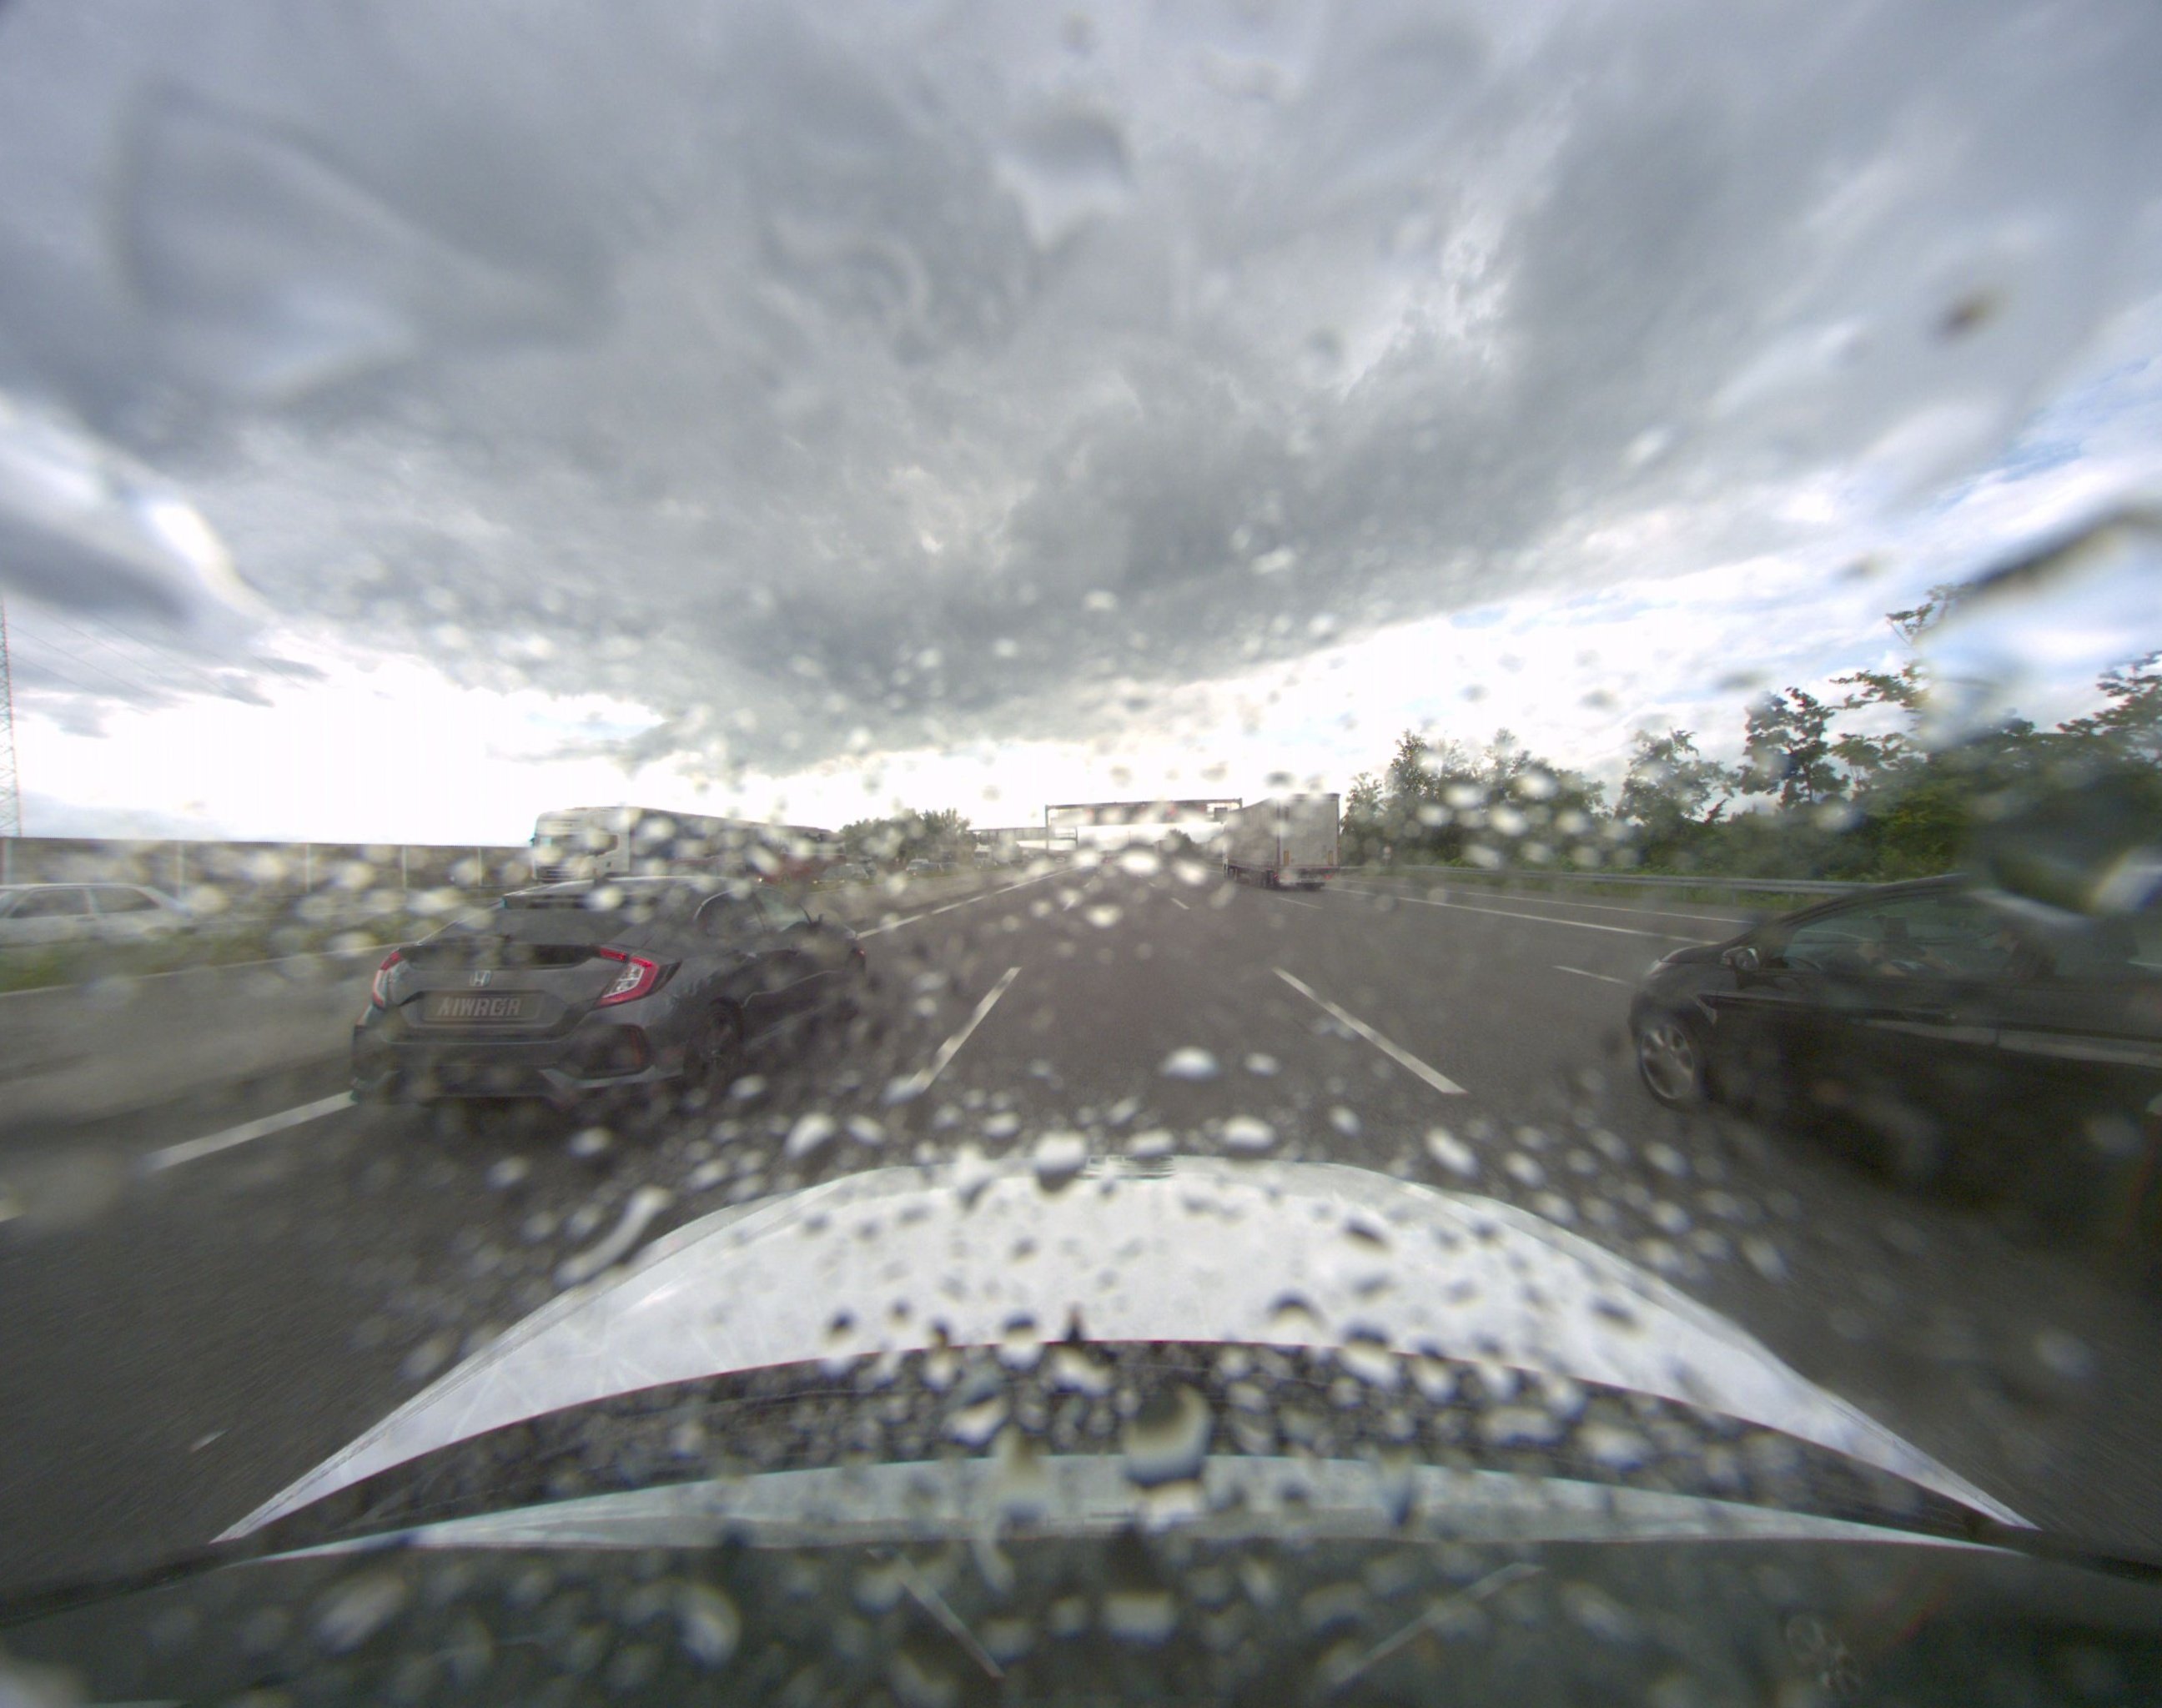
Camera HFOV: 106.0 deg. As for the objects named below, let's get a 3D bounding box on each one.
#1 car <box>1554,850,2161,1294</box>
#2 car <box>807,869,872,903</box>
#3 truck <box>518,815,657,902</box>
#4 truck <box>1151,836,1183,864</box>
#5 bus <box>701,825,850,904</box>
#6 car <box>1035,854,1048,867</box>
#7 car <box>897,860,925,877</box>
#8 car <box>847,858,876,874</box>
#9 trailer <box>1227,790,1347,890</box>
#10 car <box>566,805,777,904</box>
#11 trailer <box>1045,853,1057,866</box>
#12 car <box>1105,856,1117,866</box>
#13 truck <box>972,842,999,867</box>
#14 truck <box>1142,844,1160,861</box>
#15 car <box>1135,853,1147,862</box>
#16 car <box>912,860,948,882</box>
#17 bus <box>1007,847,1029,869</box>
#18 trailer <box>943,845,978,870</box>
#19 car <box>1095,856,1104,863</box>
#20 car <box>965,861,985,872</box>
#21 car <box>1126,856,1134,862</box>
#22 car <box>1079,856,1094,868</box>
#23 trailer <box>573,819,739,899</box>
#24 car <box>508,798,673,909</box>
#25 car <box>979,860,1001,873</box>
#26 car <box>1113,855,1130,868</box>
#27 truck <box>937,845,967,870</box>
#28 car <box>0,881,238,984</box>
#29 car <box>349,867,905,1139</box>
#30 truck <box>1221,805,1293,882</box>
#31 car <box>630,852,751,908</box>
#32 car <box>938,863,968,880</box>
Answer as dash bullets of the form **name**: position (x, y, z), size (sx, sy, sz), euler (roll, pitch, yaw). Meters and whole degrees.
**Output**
- **car**: position (4.102, 0.715, 4.262), size (1.442, 1.441, 3.164), euler (-1, 0, 1)
- **car**: position (-11.992, 1.547, 40.772), size (1.781, 1.533, 4.566), euler (0, 0, 1)
- **truck**: position (-24.839, 0.217, 41.490), size (2.889, 4.116, 6.624), euler (0, 0, 1)
- **truck**: position (13.732, -0.565, 131.349), size (4.164, 4.288, 12.617), euler (0, 0, 2)
- **bus**: position (-15.794, 0.510, 43.634), size (2.879, 3.611, 12.763), euler (0, 0, 1)
- **car**: position (-7.321, 1.167, 151.310), size (2.128, 2.351, 5.712), euler (0, 0, 1)
- **car**: position (-17.493, 1.454, 83.954), size (1.784, 1.739, 4.579), euler (0, 0, 1)
- **car**: position (-22.311, 1.182, 82.995), size (1.781, 1.597, 3.956), euler (0, 0, 1)
- **trailer**: position (9.547, -0.574, 39.845), size (2.949, 4.020, 14.128), euler (-1, 0, 3)
- **car**: position (-19.590, 0.037, 40.851), size (2.971, 4.124, 14.399), euler (0, 0, 1)
- **trailer**: position (-7.659, 1.330, 207.461), size (2.439, 3.138, 6.055), euler (-1, 0, 3)
- **car**: position (4.585, 0.994, 123.872), size (1.766, 1.441, 4.056), euler (-1, 0, 1)
- **truck**: position (-15.509, 0.081, 132.594), size (2.873, 3.961, 7.544), euler (0, 0, 4)
- **truck**: position (18.140, -0.414, 211.361), size (4.227, 4.176, 11.996), euler (0, 0, 2)
- **car**: position (9.793, 0.579, 133.658), size (1.828, 1.441, 4.058), euler (-1, 0, 2)
- **car**: position (-10.850, 1.222, 58.715), size (1.710, 1.523, 4.214), euler (0, 0, 1)
- **bus**: position (-11.471, 0.745, 149.115), size (2.643, 3.679, 10.643), euler (-1, -1, 3)
- **trailer**: position (-20.063, 0.572, 136.300), size (3.016, 3.933, 12.985), euler (-2, -1, 3)
- **car**: position (4.069, 1.271, 180.070), size (1.766, 1.441, 4.055), euler (-1, 0, 0)
- **car**: position (-13.422, 1.605, 103.466), size (1.781, 1.381, 4.862), euler (0, 0, 1)
- **car**: position (11.385, 1.118, 190.786), size (1.828, 1.441, 4.058), euler (-1, 0, 2)
- **car**: position (0.708, 0.976, 100.288), size (1.766, 1.441, 3.874), euler (-1, 0, 1)
- **trailer**: position (-24.658, 0.284, 48.503), size (2.889, 4.116, 12.702), euler (0, 0, 1)
- **car**: position (-19.804, -0.003, 33.386), size (2.972, 4.150, 6.044), euler (0, 0, 1)
- **car**: position (-10.093, 1.345, 90.750), size (1.781, 1.381, 4.862), euler (0, 0, 1)
- **car**: position (4.735, 0.872, 95.489), size (1.766, 1.441, 4.056), euler (-1, 0, 1)
- **truck**: position (-20.460, 0.567, 129.608), size (3.016, 3.933, 7.716), euler (-2, -1, 3)
- **car**: position (-17.378, 1.256, 13.583), size (1.781, 1.455, 4.566), euler (0, 0, 1)
- **car**: position (-3.022, 0.854, 6.963), size (1.754, 1.369, 5.062), euler (-1, 0, 2)
- **truck**: position (9.863, -0.560, 46.264), size (2.949, 4.020, 6.593), euler (-1, 0, 3)
- **car**: position (-12.525, 0.772, 26.453), size (1.781, 1.666, 4.297), euler (0, 0, 1)
- **car**: position (-10.869, 1.466, 69.337), size (1.710, 1.426, 4.862), euler (0, 0, 1)
